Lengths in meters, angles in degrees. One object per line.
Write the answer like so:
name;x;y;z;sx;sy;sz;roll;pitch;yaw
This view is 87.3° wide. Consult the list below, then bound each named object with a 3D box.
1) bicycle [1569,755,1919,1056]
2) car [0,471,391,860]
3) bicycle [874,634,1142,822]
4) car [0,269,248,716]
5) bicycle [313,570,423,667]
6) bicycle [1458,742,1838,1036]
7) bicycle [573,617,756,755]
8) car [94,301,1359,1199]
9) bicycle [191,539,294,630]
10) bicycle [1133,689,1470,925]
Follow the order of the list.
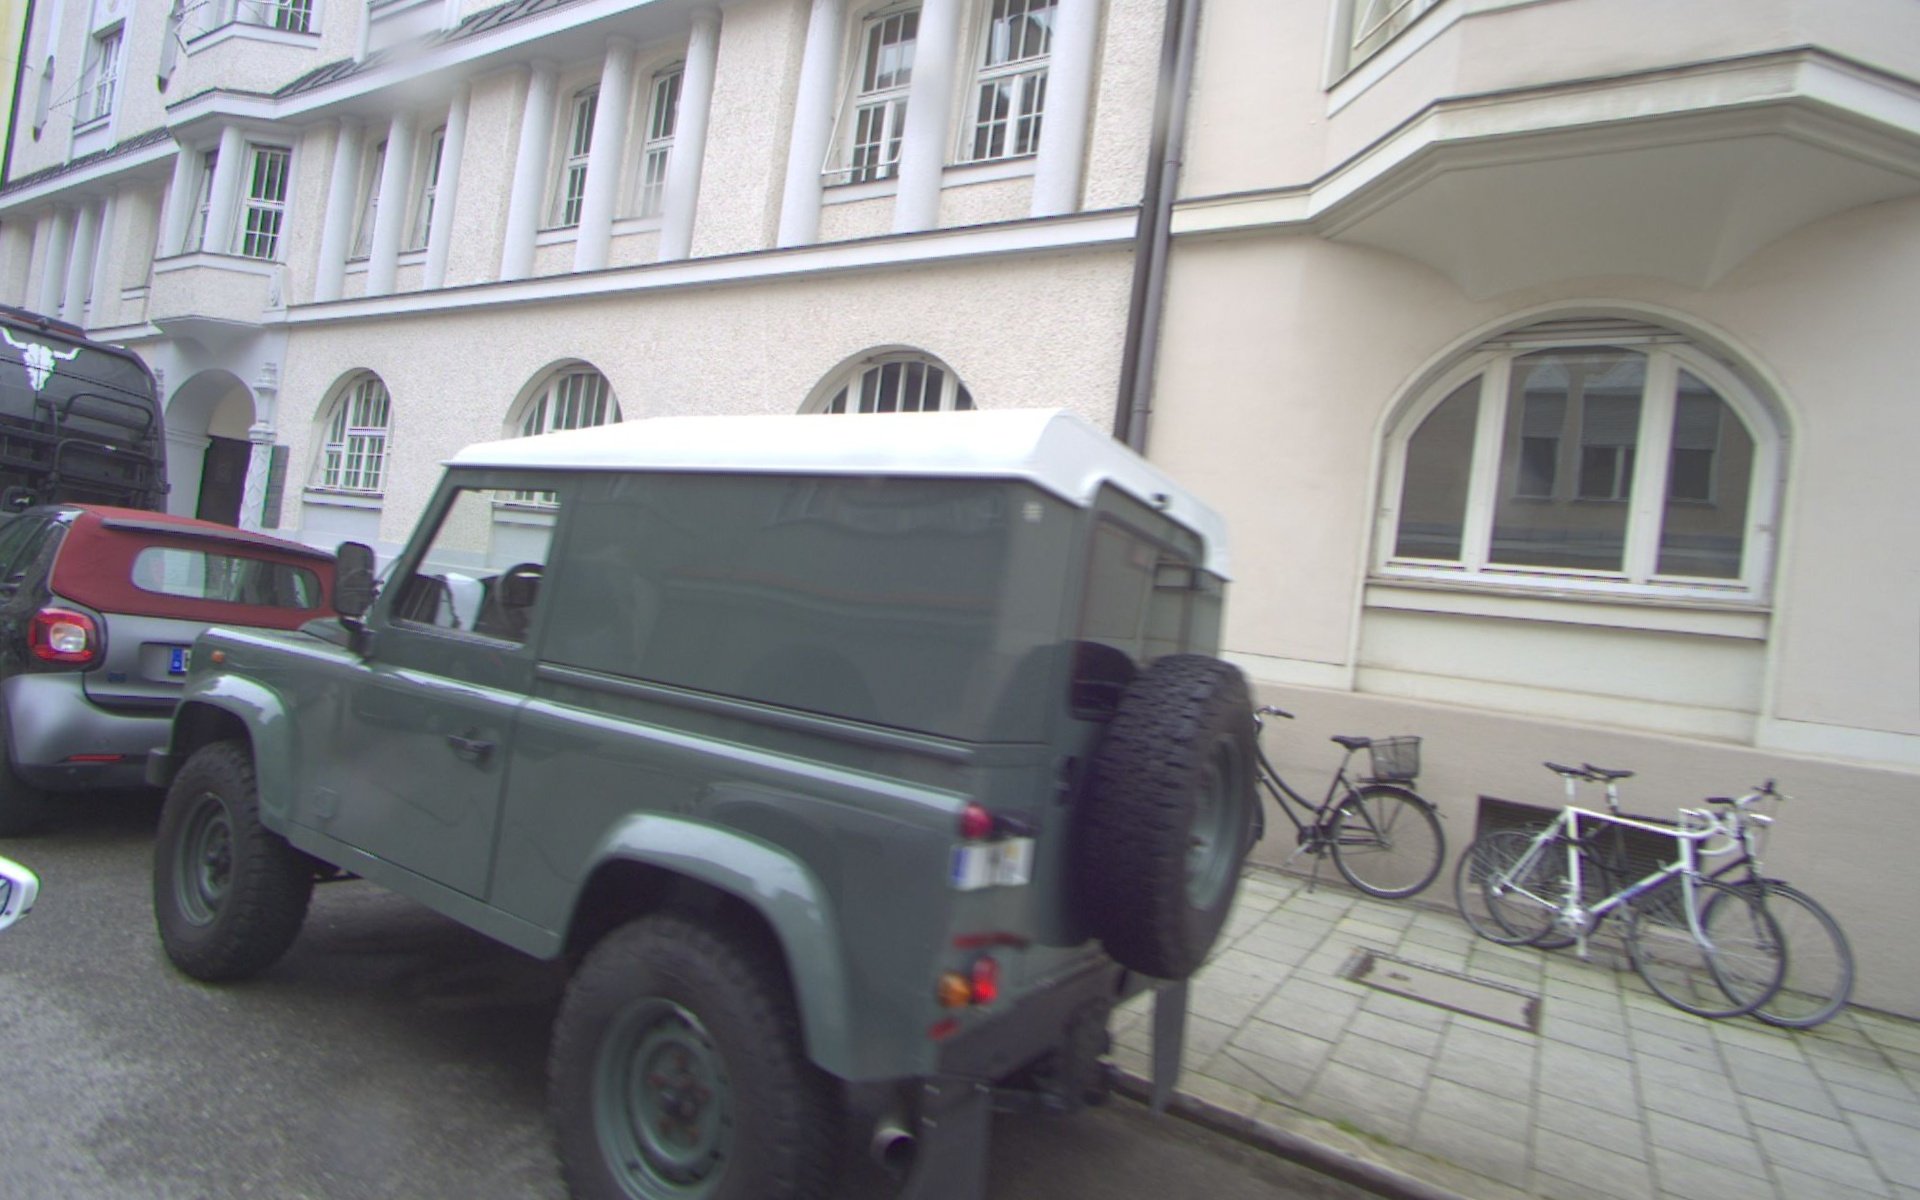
bicycle;4.193;1.526;5.366;0.314;1.130;1.548;8;-2;-31
car;-4.764;0.240;5.618;2.770;1.644;1.544;6;-2;34
bicycle;0.352;0.966;7.969;1.935;1.130;0.647;6;-2;33
car;-9.027;-0.944;8.636;6.031;2.992;2.260;5;-3;32
bicycle;-7.793;0.225;13.213;1.759;1.082;0.389;6;1;32
bicycle;3.657;1.477;5.503;0.427;1.130;1.587;8;-2;-31
bicycle;-2.933;0.813;9.911;1.759;1.083;0.651;6;1;32
car;-0.997;0.431;3.510;4.004;2.063;1.799;6;-2;32
bicycle;-10.632;-0.236;14.893;1.758;1.165;0.482;7;2;30
bicycle;2.249;1.302;6.741;1.935;1.130;0.642;6;-2;33
